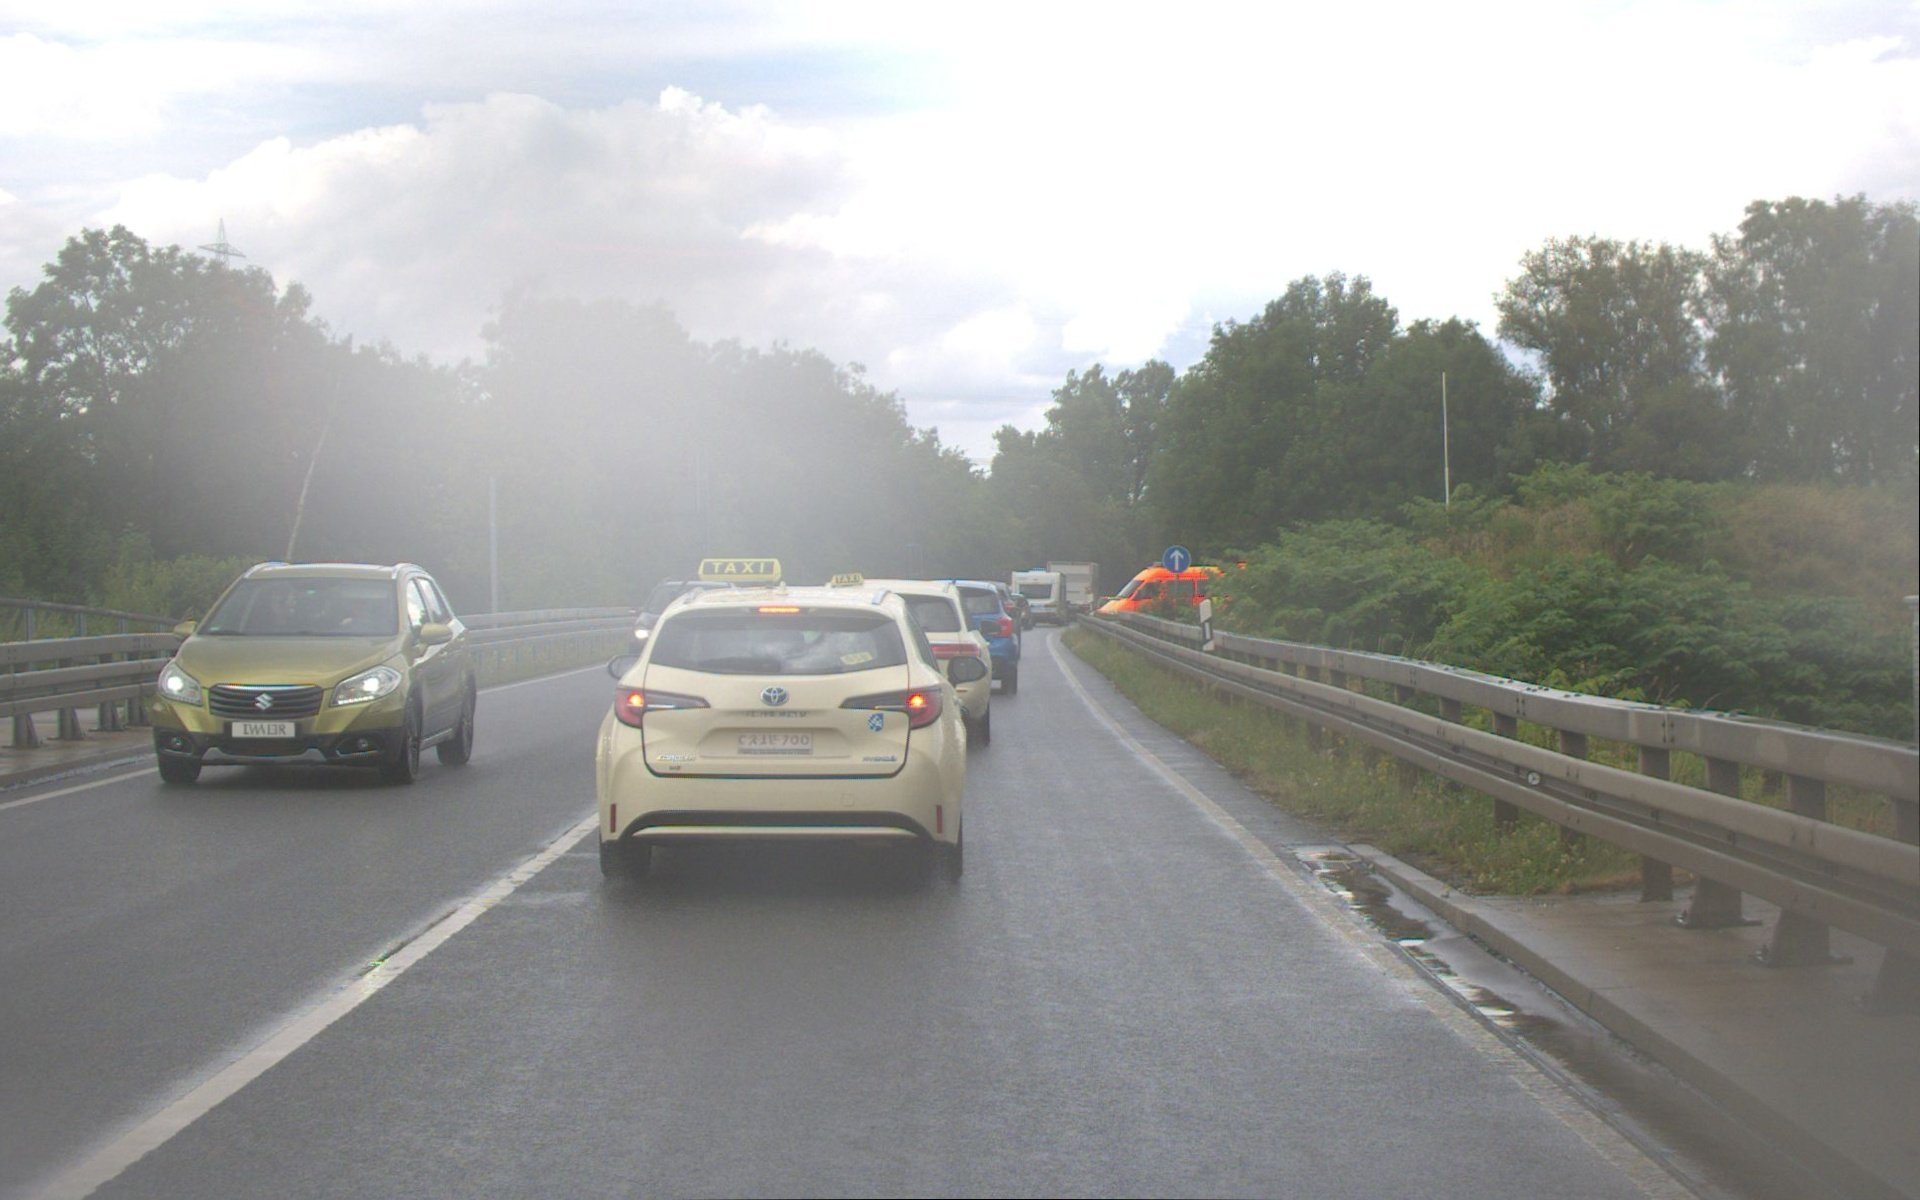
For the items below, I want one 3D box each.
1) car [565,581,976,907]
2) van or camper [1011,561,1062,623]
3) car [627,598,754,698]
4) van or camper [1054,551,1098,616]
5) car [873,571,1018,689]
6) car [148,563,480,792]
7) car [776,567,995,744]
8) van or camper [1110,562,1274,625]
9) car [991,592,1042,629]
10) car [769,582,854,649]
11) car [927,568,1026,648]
[{"bbox_3d":[-0.875,0.647,17.762,1.854,1.389,4.171,1,1,0],"label":"car"},{"bbox_3d":[3.605,-0.400,163.124,2.333,2.854,6.306,1,1,1],"label":"van or camper"},{"bbox_3d":[-4.196,0.719,54.062,1.696,1.427,4.323,1,1,-1],"label":"car"},{"bbox_3d":[6.515,-0.969,194.339,2.333,3.550,6.306,1,1,1],"label":"van or camper"},{"bbox_3d":[-0.201,0.367,46.561,1.854,1.438,4.171,1,1,0],"label":"car"},{"bbox_3d":[-4.621,0.536,25.099,1.713,1.511,3.860,1,0,-1],"label":"car"},{"bbox_3d":[-0.650,0.457,31.568,1.854,1.438,4.171,1,1,0],"label":"car"},{"bbox_3d":[8.556,-0.253,126.973,5.676,2.234,2.021,1,1,-14],"label":"van or camper"},{"bbox_3d":[2.313,0.416,140.214,1.854,1.438,4.170,1,1,3],"label":"car"},{"bbox_3d":[-3.521,0.351,82.386,1.810,1.504,4.611,1,1,0],"label":"car"},{"bbox_3d":[0.303,0.131,67.385,1.854,1.438,4.171,1,1,0],"label":"car"}]
